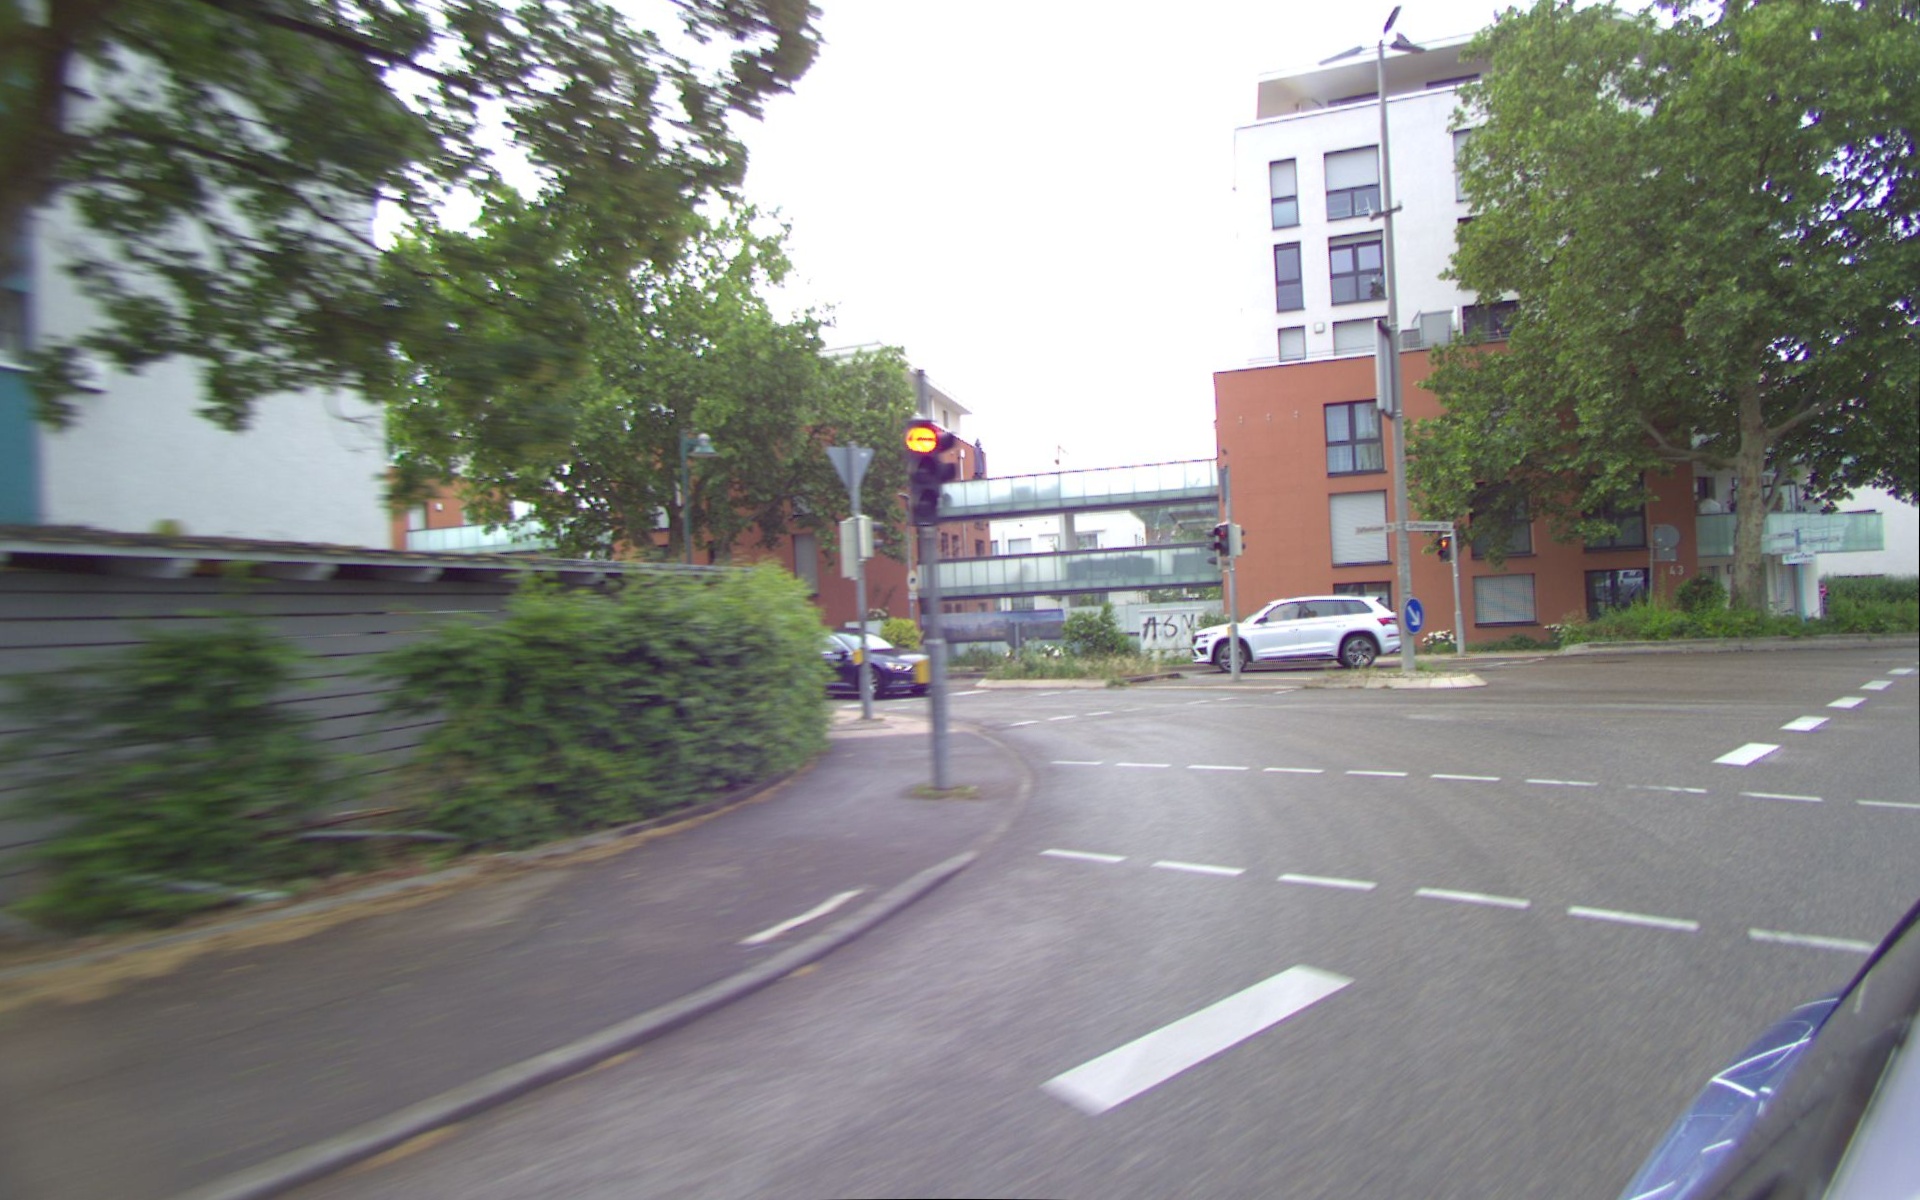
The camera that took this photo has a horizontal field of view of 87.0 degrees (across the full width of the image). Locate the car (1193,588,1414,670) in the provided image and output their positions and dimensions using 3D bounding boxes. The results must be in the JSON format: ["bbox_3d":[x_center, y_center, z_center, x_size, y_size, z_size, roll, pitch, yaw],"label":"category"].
[{"bbox_3d":[7.754,0.659,23.260,4.545,1.659,1.666,-3,-1,12],"label":"car"}]

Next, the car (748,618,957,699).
[{"bbox_3d":[-2.303,1.247,21.269,4.131,1.481,1.865,-4,-2,35],"label":"car"}]
